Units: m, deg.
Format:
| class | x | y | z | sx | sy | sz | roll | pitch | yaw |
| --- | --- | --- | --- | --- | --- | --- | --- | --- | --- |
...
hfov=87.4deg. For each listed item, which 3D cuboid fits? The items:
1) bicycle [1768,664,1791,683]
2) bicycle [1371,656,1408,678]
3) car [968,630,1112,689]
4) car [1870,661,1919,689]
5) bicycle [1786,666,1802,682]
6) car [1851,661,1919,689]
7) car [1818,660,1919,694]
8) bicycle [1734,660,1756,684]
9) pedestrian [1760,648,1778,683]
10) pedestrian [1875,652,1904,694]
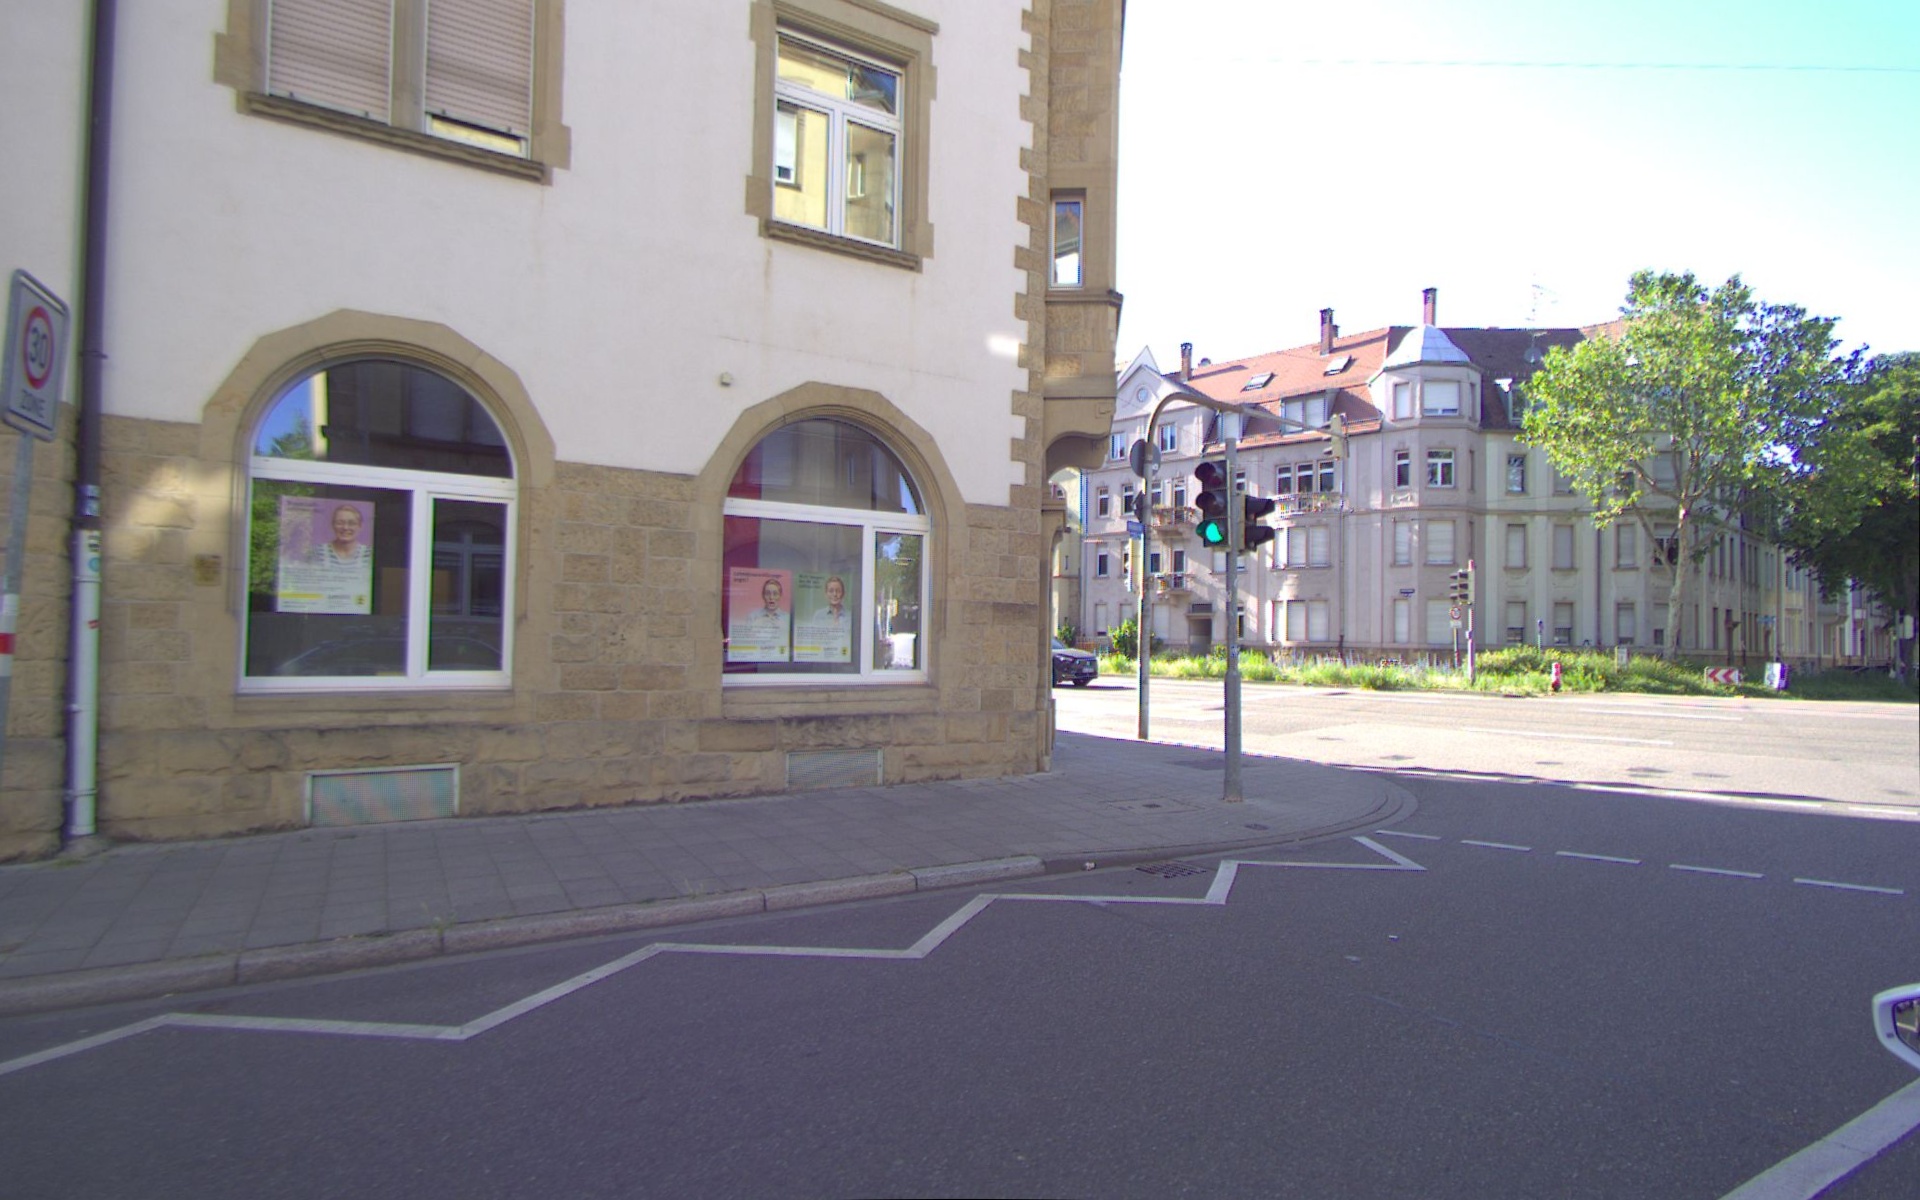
| class | x | y | z | sx | sy | sz | roll | pitch | yaw |
| --- | --- | --- | --- | --- | --- | --- | --- | --- | --- |
| bicycle | 40.098 | 3.585 | 49.120 | 1.581 | 0.923 | 0.469 | 3 | -3 | -35 |
| bicycle | 18.943 | 2.943 | 44.328 | 0.494 | 0.916 | 1.419 | 3 | -3 | -45 |
| car | 2.391 | 1.747 | 30.796 | 1.985 | 1.666 | 4.189 | 1 | -2 | -42 |
| car | 54.752 | 4.306 | 57.374 | 1.771 | 1.502 | 3.954 | 3 | -2 | -40 |
| bicycle | 47.381 | 4.189 | 57.060 | 0.961 | 0.826 | 0.567 | 4 | 0 | -43 |
| car | 51.243 | 4.083 | 54.482 | 1.691 | 1.366 | 4.174 | 4 | -3 | -41 |
| car | 42.786 | 3.593 | 46.989 | 1.603 | 1.495 | 3.848 | 4 | -4 | -41 |
| bicycle | 40.335 | 3.698 | 51.607 | 1.967 | 1.169 | 0.509 | 2 | 0 | -42 |
| pedestrian | 39.874 | 3.219 | 49.524 | 0.885 | 1.680 | 0.457 | 3 | -3 | -34 |
| pedestrian | 38.031 | 2.971 | 41.092 | 0.672 | 1.704 | 0.690 | 2 | -3 | -31 |
